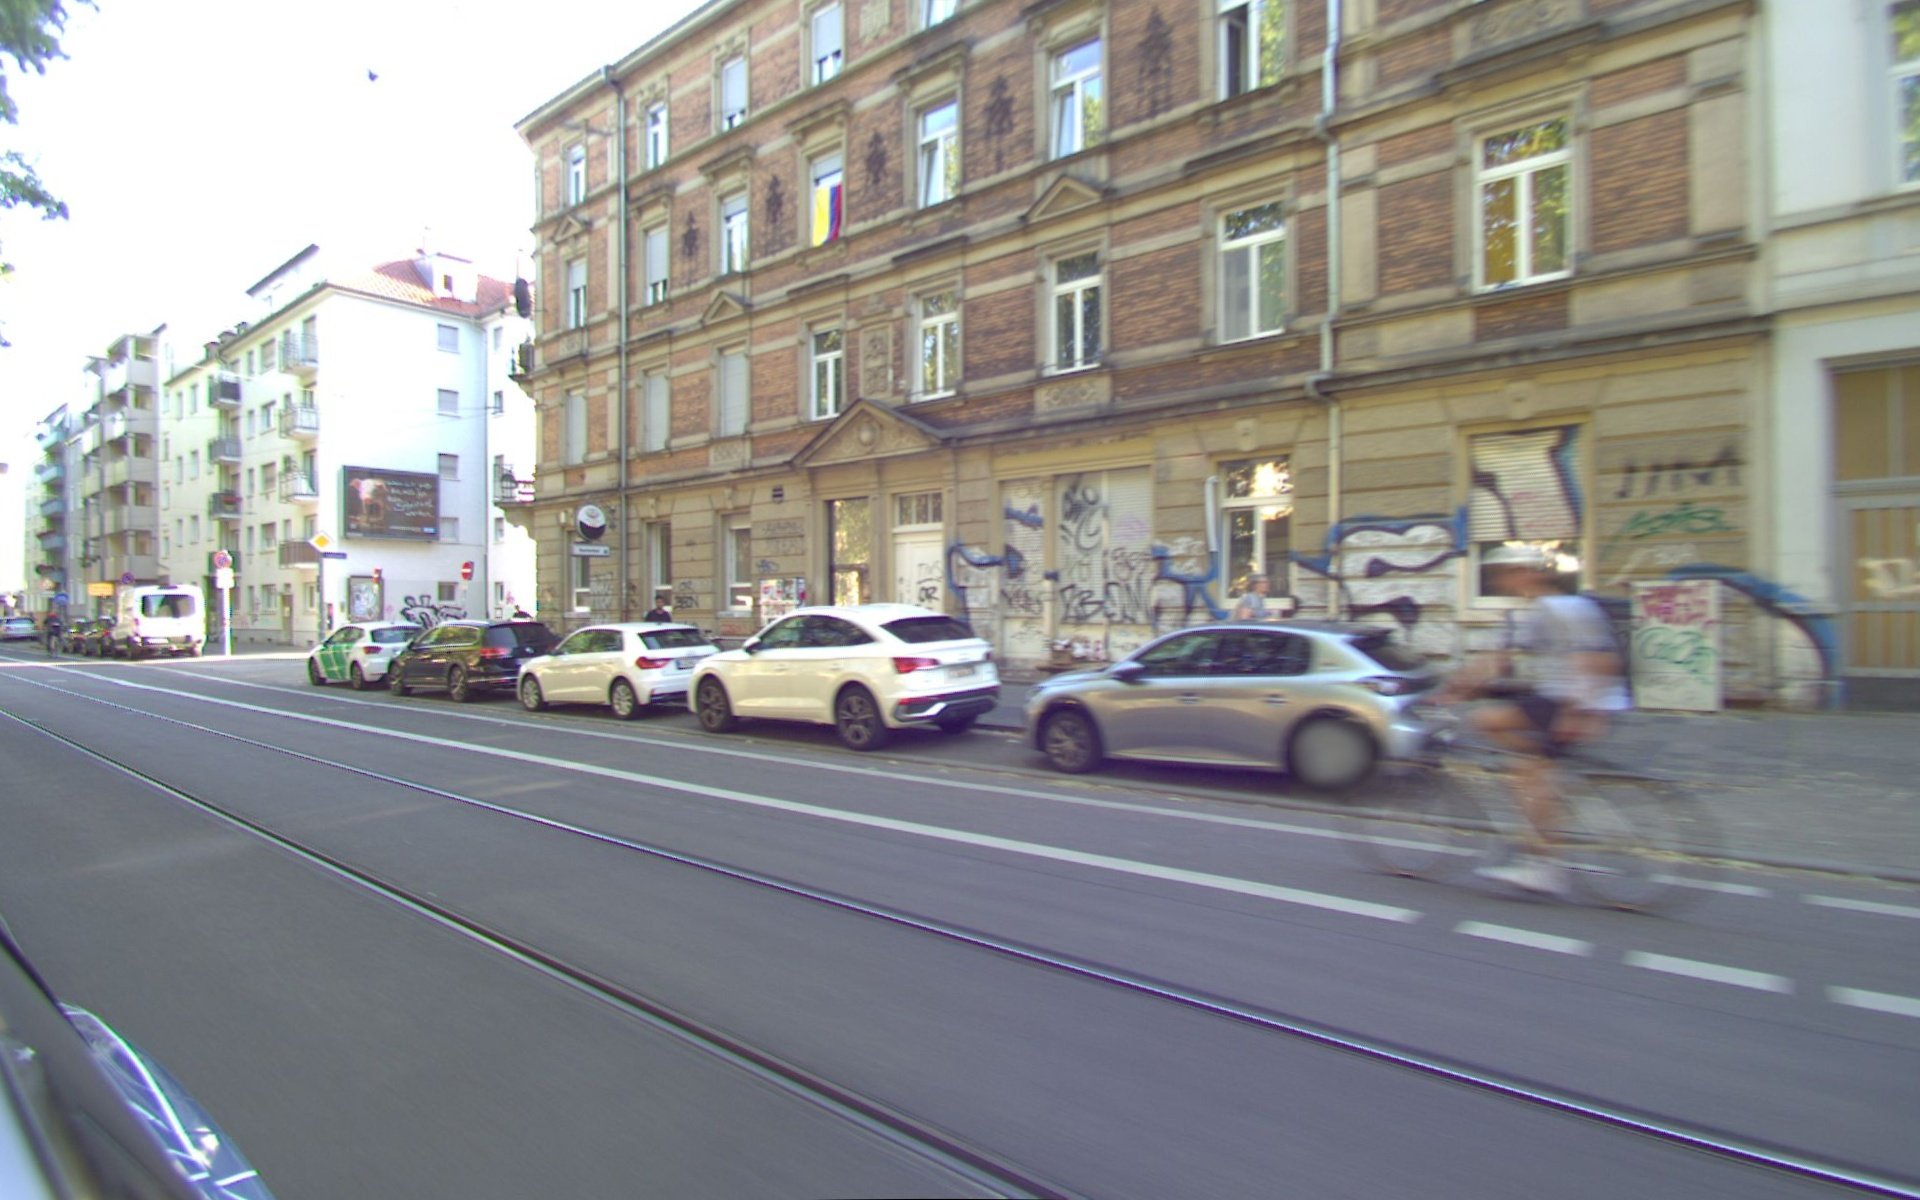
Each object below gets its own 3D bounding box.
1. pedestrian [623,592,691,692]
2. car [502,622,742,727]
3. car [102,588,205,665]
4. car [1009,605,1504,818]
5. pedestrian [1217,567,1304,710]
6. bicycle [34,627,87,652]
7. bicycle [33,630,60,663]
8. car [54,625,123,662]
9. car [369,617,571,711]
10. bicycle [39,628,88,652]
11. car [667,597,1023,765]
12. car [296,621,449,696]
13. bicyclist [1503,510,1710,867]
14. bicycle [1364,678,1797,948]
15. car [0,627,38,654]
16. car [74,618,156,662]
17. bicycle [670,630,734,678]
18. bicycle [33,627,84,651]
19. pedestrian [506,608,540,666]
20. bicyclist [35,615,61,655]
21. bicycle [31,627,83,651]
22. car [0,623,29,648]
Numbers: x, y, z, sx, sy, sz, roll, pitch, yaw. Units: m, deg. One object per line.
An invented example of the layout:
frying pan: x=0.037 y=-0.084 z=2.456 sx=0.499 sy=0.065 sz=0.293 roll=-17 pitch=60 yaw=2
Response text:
pedestrian: x=-5.677 y=0.766 z=18.973 sx=1.053 sy=1.814 sz=0.678 roll=-1 pitch=0 yaw=32
car: x=-5.494 y=1.097 z=16.258 sx=3.993 sy=1.431 sz=1.684 roll=-1 pitch=0 yaw=37
car: x=-29.174 y=0.936 z=36.530 sx=5.666 sy=2.555 sz=2.043 roll=-1 pitch=-1 yaw=42
car: x=2.588 y=0.847 z=9.338 sx=4.059 sy=1.532 sz=1.646 roll=-1 pitch=0 yaw=39
pedestrian: x=3.653 y=0.449 z=12.341 sx=0.653 sy=1.678 sz=0.771 roll=-1 pitch=0 yaw=-18
bicycle: x=-45.412 y=1.980 z=51.104 sx=1.945 sy=1.127 sz=0.425 roll=-1 pitch=0 yaw=-43
bicycle: x=-33.967 y=1.705 z=37.629 sx=2.230 sy=1.159 sz=0.416 roll=0 pitch=-2 yaw=40
car: x=-37.474 y=1.816 z=43.480 sx=4.571 sy=1.467 sz=1.700 roll=-1 pitch=-1 yaw=42
car: x=-9.686 y=1.153 z=19.820 sx=4.782 sy=1.574 sz=1.723 roll=-1 pitch=0 yaw=40
bicycle: x=-44.545 y=1.967 z=50.292 sx=1.768 sy=1.127 sz=0.425 roll=-1 pitch=0 yaw=-43
car: x=-1.615 y=0.881 z=12.892 sx=4.716 sy=1.736 sz=1.768 roll=-1 pitch=0 yaw=41
car: x=-13.439 y=1.258 z=23.072 sx=4.041 sy=1.503 sz=1.723 roll=-1 pitch=0 yaw=40
bicyclist: x=3.258 y=0.415 z=5.118 sx=0.799 sy=1.648 sz=0.468 roll=-1 pitch=-2 yaw=42
bicycle: x=3.114 y=0.996 z=5.238 sx=1.845 sy=1.094 sz=0.476 roll=-1 pitch=-1 yaw=42
car: x=-55.868 y=2.370 z=59.727 sx=4.726 sy=1.502 sz=1.672 roll=-1 pitch=-1 yaw=41
car: x=-33.331 y=1.534 z=39.863 sx=4.342 sy=1.644 sz=1.701 roll=-1 pitch=-1 yaw=39
bicycle: x=-5.942 y=1.222 z=23.227 sx=1.846 sy=1.042 sz=0.369 roll=-1 pitch=-1 yaw=38
bicycle: x=-46.154 y=1.992 z=51.814 sx=1.908 sy=1.127 sz=0.440 roll=-1 pitch=0 yaw=-43
pedestrian: x=-13.552 y=1.143 z=31.386 sx=0.893 sy=1.762 sz=0.649 roll=-3 pitch=-1 yaw=44
bicyclist: x=-34.023 y=1.307 z=37.753 sx=0.806 sy=1.493 sz=0.576 roll=-1 pitch=-2 yaw=40
bicycle: x=-45.843 y=1.988 z=51.381 sx=1.937 sy=1.127 sz=0.440 roll=-1 pitch=0 yaw=-43
car: x=-59.474 y=2.173 z=62.940 sx=4.236 sy=1.502 sz=1.776 roll=-1 pitch=-1 yaw=39
